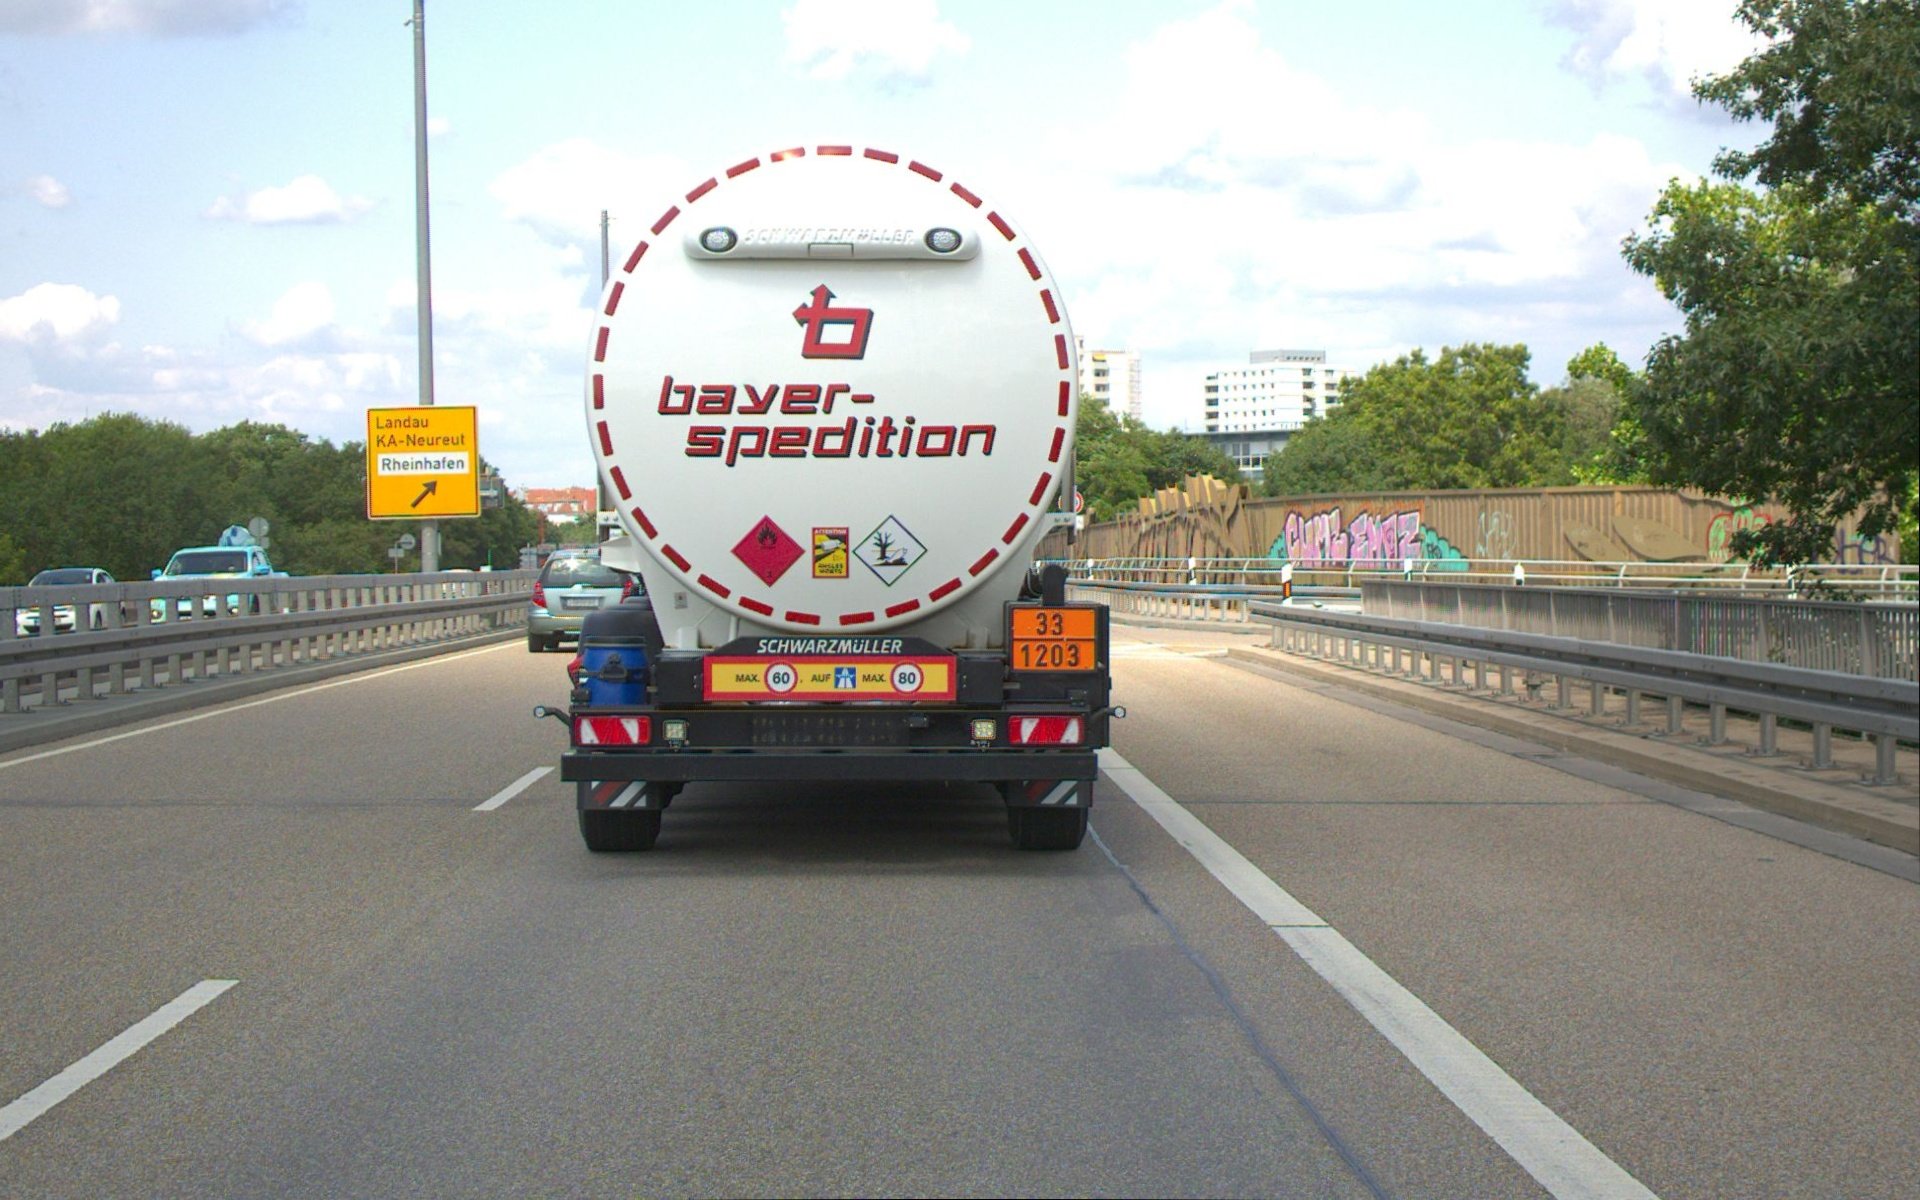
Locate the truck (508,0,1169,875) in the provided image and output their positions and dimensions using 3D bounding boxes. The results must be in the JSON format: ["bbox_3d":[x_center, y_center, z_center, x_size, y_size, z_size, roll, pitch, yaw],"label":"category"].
[{"bbox_3d":[-0.687,-1.018,19.339,2.895,4.354,8.030,1,1,-2],"label":"truck"}]

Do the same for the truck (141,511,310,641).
[{"bbox_3d":[-12.917,-0.436,60.741,1.873,2.179,5.188,1,1,0],"label":"truck"}]

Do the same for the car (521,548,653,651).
[{"bbox_3d":[-5.800,-0.034,53.798,1.747,1.526,4.001,0,1,-2],"label":"car"}]

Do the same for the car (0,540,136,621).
[{"bbox_3d":[-18.115,-0.408,69.811,1.829,1.576,3.954,1,1,0],"label":"car"}]
